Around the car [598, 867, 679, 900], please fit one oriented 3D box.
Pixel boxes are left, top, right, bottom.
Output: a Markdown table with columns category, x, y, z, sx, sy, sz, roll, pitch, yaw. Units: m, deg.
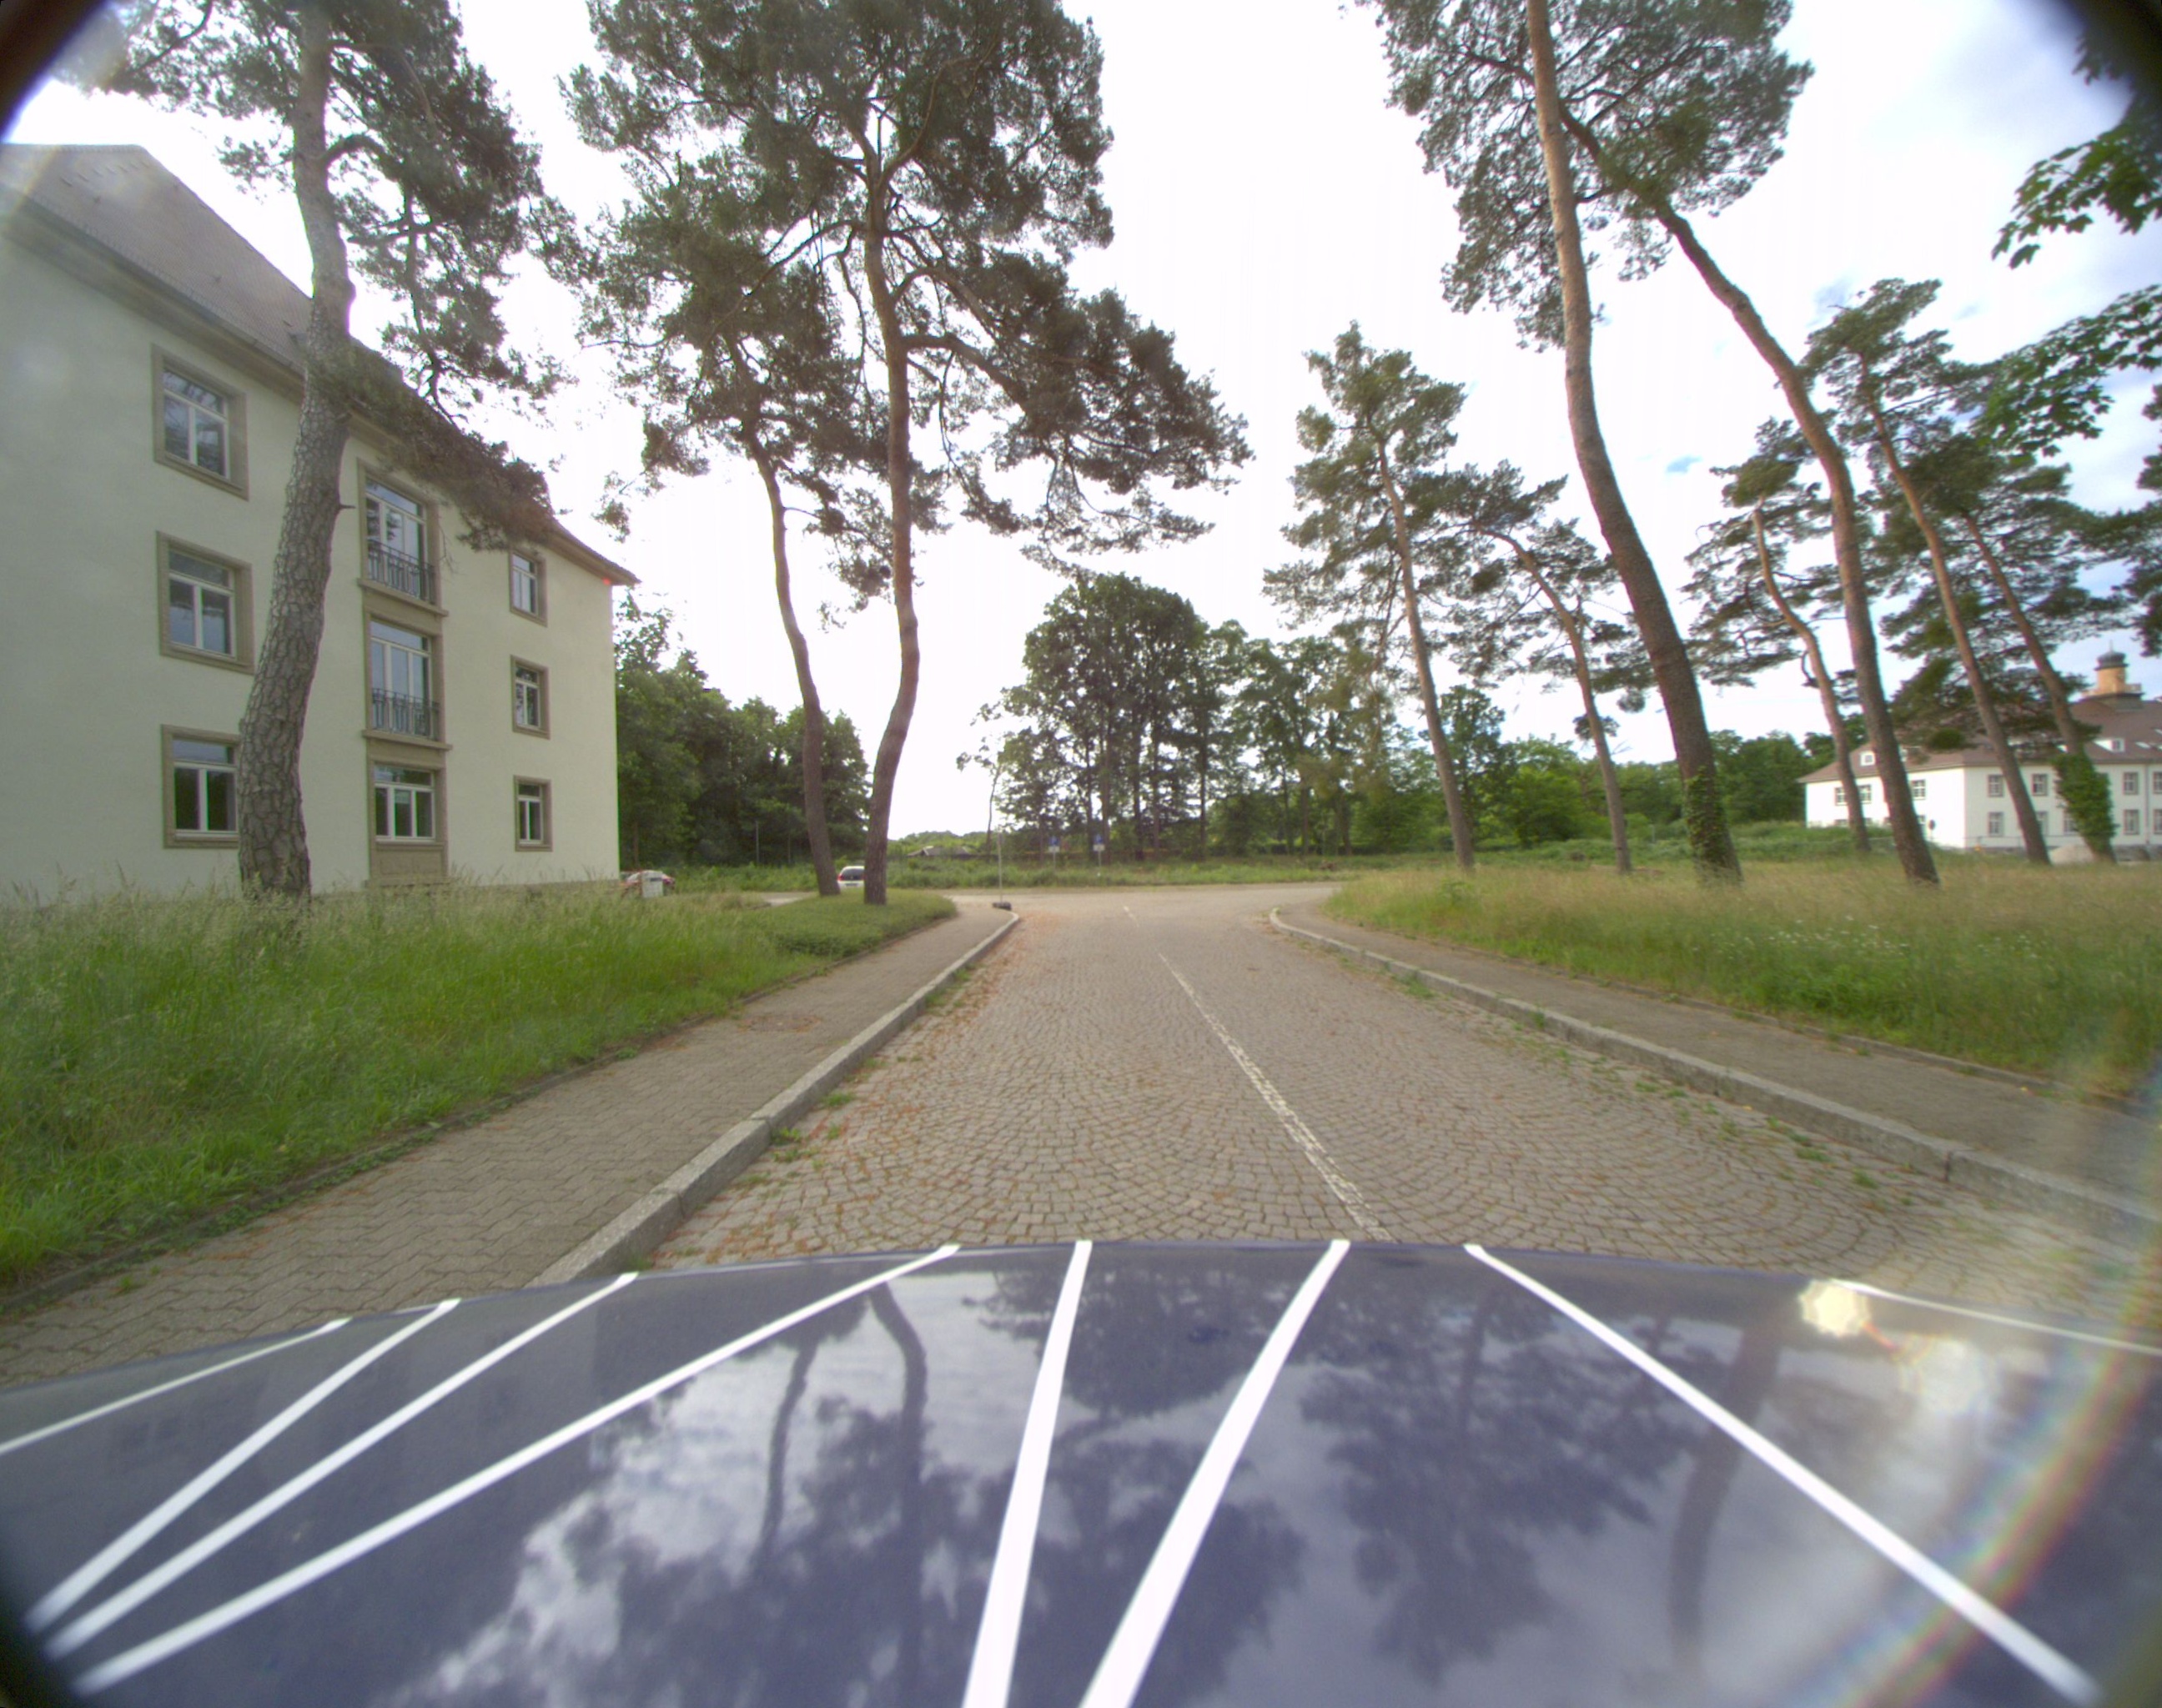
| category | x | y | z | sx | sy | sz | roll | pitch | yaw |
| --- | --- | --- | --- | --- | --- | --- | --- | --- | --- |
| car | -22.252 | 1.441 | 38.370 | 1.641 | 1.321 | 3.999 | -1 | 2 | 1 |

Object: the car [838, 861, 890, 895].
| category | x | y | z | sx | sy | sz | roll | pitch | yaw |
| --- | --- | --- | --- | --- | --- | --- | --- | --- | --- |
| car | -10.947 | 1.181 | 38.536 | 1.641 | 1.426 | 3.277 | -1 | 2 | 1 |
